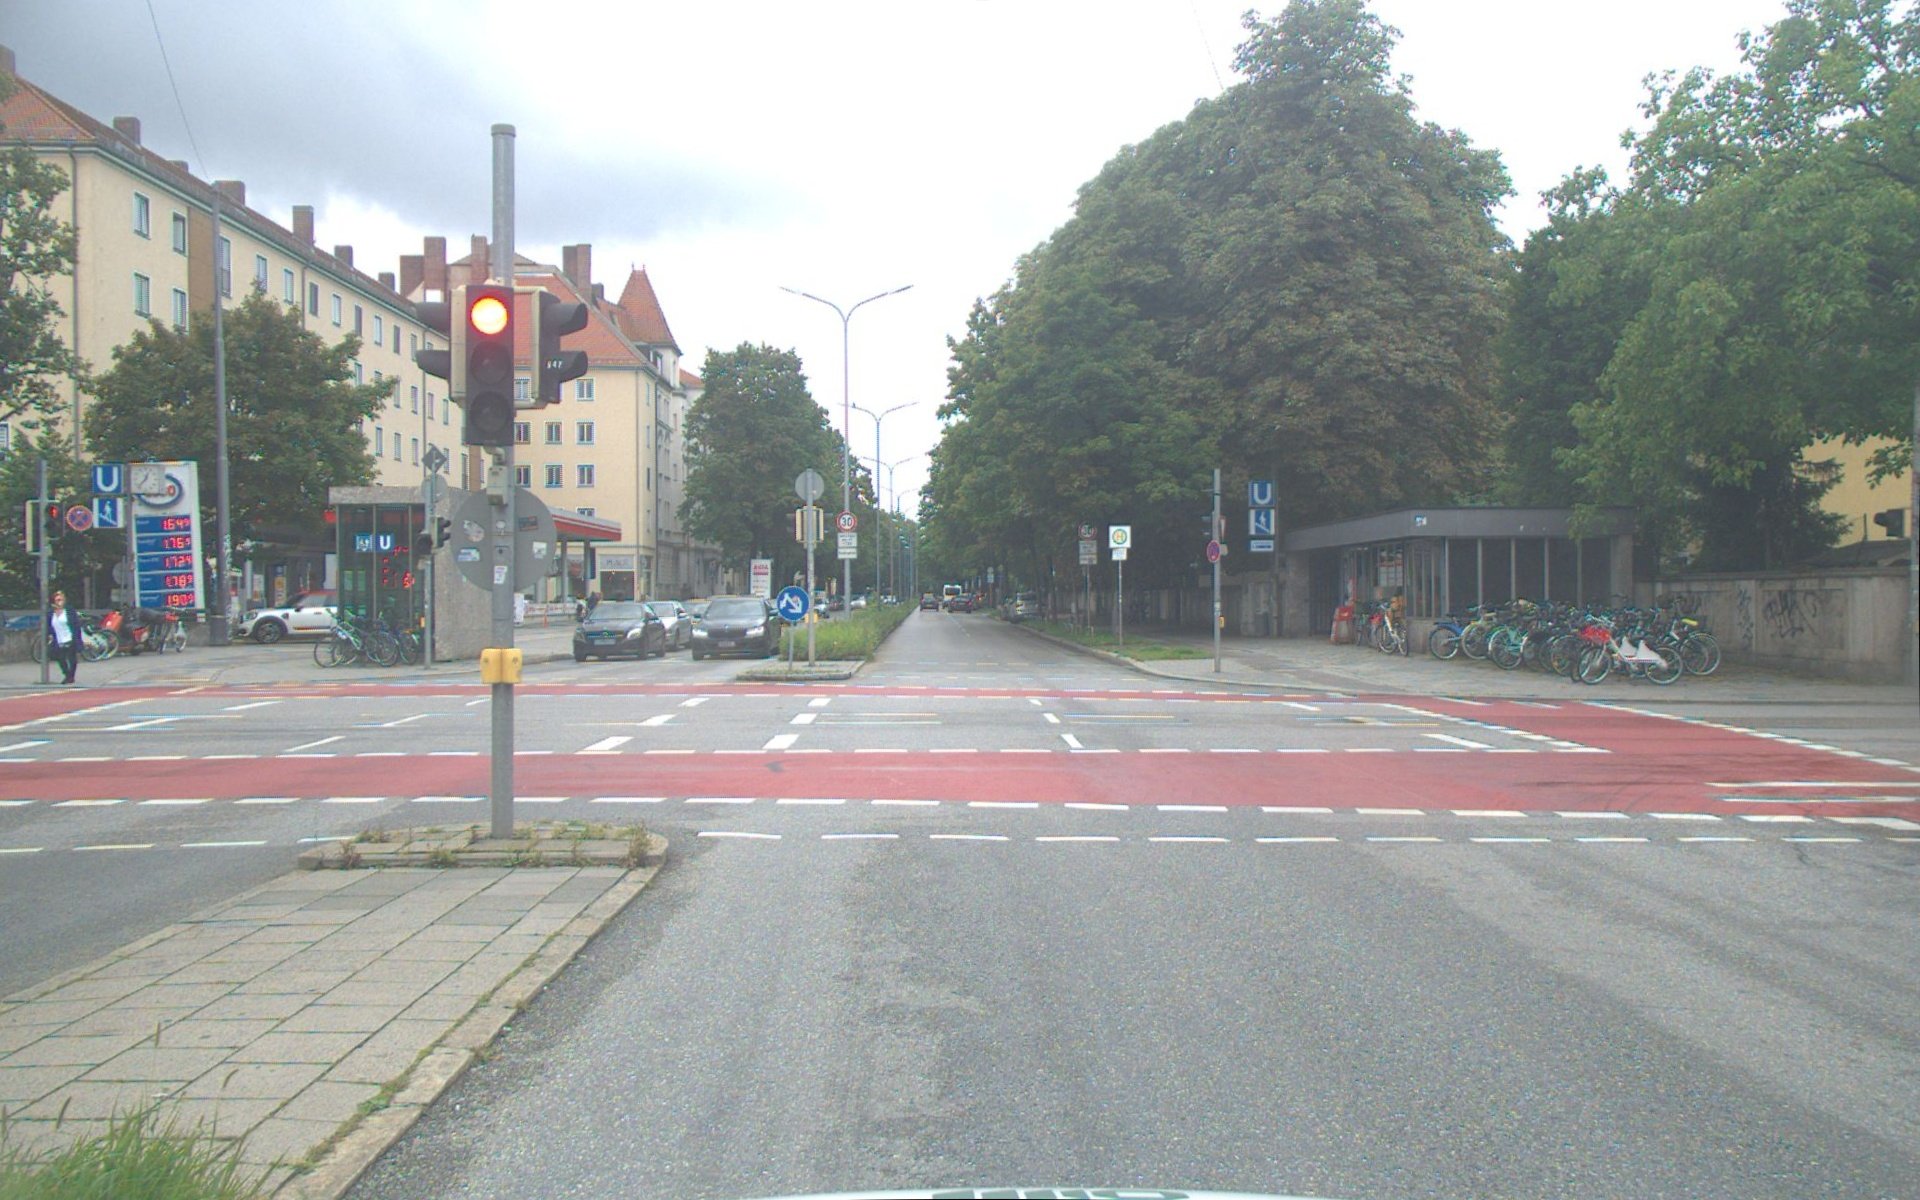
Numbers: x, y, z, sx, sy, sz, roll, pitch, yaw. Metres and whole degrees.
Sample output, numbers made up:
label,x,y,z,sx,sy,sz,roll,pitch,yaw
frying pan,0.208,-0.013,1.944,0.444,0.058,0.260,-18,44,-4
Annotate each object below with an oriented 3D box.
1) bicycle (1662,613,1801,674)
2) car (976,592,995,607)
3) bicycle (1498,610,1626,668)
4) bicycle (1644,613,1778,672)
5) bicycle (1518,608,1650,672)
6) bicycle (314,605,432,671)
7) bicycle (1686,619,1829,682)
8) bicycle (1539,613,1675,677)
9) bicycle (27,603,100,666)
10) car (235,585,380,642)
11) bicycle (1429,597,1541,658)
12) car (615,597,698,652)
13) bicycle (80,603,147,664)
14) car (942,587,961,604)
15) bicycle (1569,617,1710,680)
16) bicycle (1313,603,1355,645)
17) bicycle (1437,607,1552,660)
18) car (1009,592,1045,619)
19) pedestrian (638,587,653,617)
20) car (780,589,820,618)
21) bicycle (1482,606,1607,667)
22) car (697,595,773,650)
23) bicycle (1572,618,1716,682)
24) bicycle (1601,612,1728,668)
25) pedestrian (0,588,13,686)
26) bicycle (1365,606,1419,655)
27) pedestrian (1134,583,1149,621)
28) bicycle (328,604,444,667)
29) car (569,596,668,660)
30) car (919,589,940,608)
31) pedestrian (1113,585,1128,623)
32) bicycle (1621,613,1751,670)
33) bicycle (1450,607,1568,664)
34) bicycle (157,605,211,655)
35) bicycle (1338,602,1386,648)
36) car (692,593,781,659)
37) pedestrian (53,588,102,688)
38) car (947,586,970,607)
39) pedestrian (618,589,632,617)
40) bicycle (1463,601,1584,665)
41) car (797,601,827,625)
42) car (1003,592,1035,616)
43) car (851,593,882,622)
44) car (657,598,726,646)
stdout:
label,x,y,z,sx,sy,sz,roll,pitch,yaw
bicycle,13.485,0.755,28.953,2.097,1.032,0.634,0,0,7
car,2.446,-0.044,159.350,1.708,1.452,3.898,0,0,-1
bicycle,10.889,0.709,29.977,2.097,1.032,0.603,0,0,7
bicycle,13.476,0.759,29.721,2.097,1.032,0.634,0,0,7
bicycle,11.029,0.704,29.265,2.097,1.120,0.603,0,0,7
bicycle,-12.296,0.790,34.679,2.225,1.327,0.704,0,0,0
bicycle,13.550,0.857,28.157,2.097,1.032,0.634,0,0,7
bicycle,11.176,0.778,28.613,2.097,1.089,0.603,0,0,7
bicycle,-19.053,0.712,35.203,0.596,1.257,2.183,0,0,-7
car,-19.857,0.390,50.349,3.911,1.637,1.799,-1,0,-29
bicycle,10.703,0.557,33.735,2.097,1.240,0.603,0,0,7
car,-8.765,0.686,48.033,1.724,1.486,3.999,0,0,-1
bicycle,-18.423,0.707,36.043,0.596,1.257,2.183,0,0,-7
car,-0.935,-0.472,175.605,1.953,1.787,3.999,0,0,-2
bicycle,11.408,0.804,27.812,2.097,1.032,0.634,0,0,7
bicycle,9.564,0.598,42.349,0.545,1.032,2.014,0,0,-3
bicycle,10.662,0.665,33.023,2.097,1.032,0.603,0,0,7
car,3.630,0.273,89.771,1.708,1.387,3.805,0,0,-1
pedestrian,-17.818,0.101,93.713,0.682,1.666,0.738,0,0,-1
car,-9.496,0.180,98.126,1.837,1.697,4.001,0,0,2
bicycle,10.836,0.671,30.706,2.097,1.105,0.603,0,0,7
car,-6.503,0.621,48.155,1.724,1.519,3.999,0,0,-1
bicycle,11.224,0.819,27.185,2.097,1.032,0.603,0,0,7
bicycle,13.314,0.756,31.297,2.097,1.032,0.634,0,0,7
pedestrian,-17.132,0.659,29.322,0.584,1.725,0.571,0,0,-32
bicycle,9.444,0.654,36.233,0.545,1.032,2.014,0,0,-3
pedestrian,8.126,0.081,74.165,0.663,1.712,0.683,0,0,5
bicycle,-12.287,0.750,35.459,2.238,1.327,0.694,0,0,0
car,-8.467,0.671,41.293,1.724,1.486,3.999,0,0,-1
car,-2.758,-0.159,148.249,1.819,1.713,3.999,0,0,-1
pedestrian,7.169,0.183,73.973,0.663,1.712,0.683,0,0,5
bicycle,13.382,0.757,30.513,2.097,1.032,0.634,0,0,7
bicycle,10.650,0.681,32.141,2.097,1.080,0.603,0,0,7
bicycle,-18.836,0.721,40.181,0.596,1.165,1.962,0,0,-7
bicycle,9.446,0.579,38.966,0.545,1.032,2.014,0,0,-3
car,-5.406,0.589,40.410,1.724,1.519,3.999,0,0,-1
pedestrian,-15.544,0.661,29.137,0.523,1.725,0.577,0,0,2
car,-0.139,-0.309,138.579,1.884,1.713,3.999,1,0,-1
pedestrian,-20.009,0.190,98.739,0.682,1.666,0.738,0,0,-1
bicycle,10.693,0.621,31.440,2.097,1.199,0.603,0,0,7
car,-9.719,0.838,108.789,1.724,1.519,3.999,0,0,-1
car,3.515,0.231,99.776,1.708,1.387,3.805,0,0,-1
car,-4.799,0.369,85.300,1.438,1.423,3.699,0,0,-1
car,-8.881,0.710,55.025,1.724,1.486,3.999,0,0,-1
